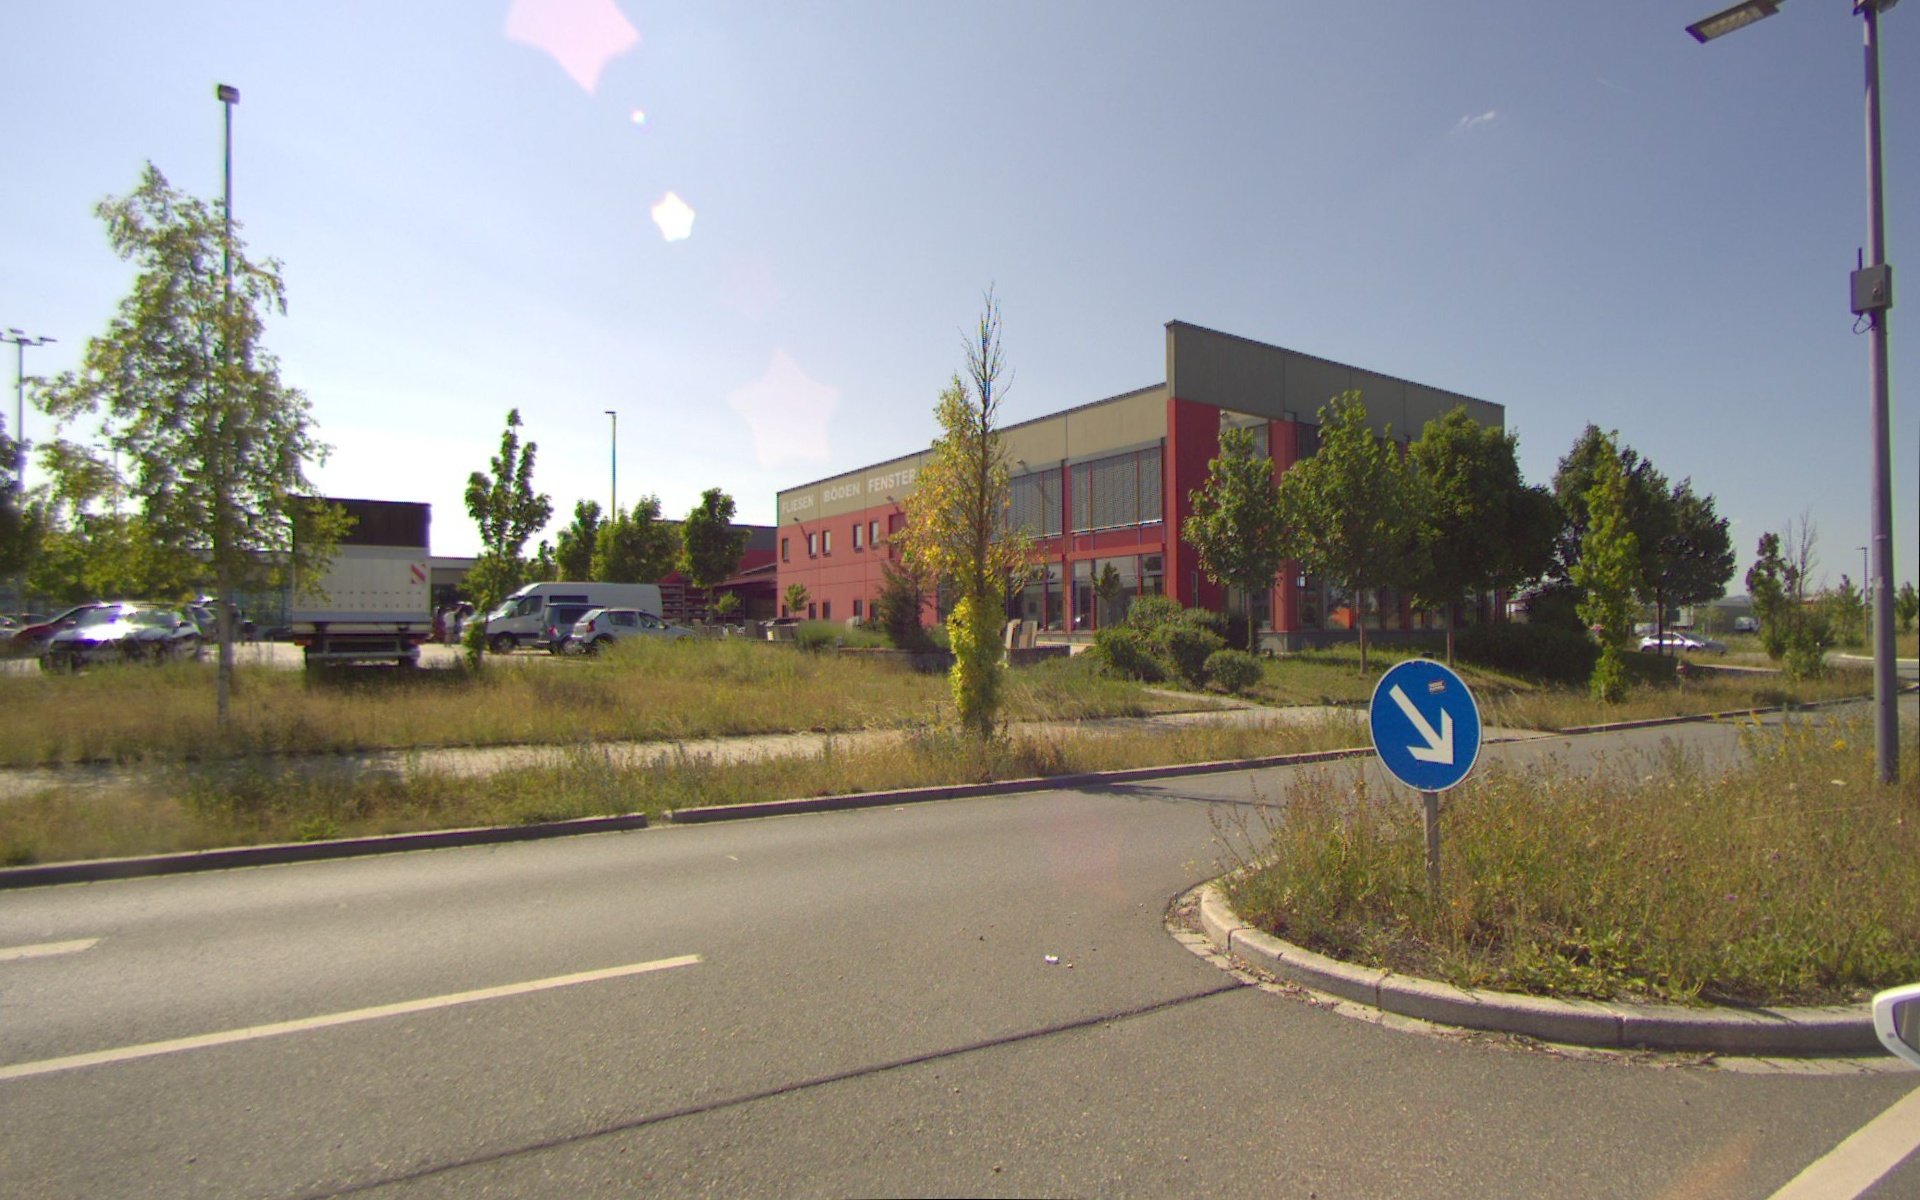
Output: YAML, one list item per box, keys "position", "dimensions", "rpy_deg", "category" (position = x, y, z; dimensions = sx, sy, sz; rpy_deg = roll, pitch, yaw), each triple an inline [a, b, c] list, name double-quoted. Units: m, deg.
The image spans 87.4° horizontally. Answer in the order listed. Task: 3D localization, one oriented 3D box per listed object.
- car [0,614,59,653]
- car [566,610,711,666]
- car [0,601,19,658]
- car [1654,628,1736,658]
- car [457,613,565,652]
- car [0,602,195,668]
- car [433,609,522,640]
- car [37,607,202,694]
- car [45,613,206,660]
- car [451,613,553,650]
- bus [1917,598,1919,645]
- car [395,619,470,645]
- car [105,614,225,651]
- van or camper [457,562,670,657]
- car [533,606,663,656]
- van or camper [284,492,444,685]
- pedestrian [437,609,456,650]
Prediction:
- position: [-40.257, 1.371, 41.447]
  dimensions: [4.337, 1.613, 1.821]
  rpy_deg: [2, -2, -34]
  category: "car"
- position: [-10.089, 1.201, 31.656]
  dimensions: [4.047, 1.636, 1.649]
  rpy_deg: [2, -2, -38]
  category: "car"
- position: [-36.058, 1.024, 35.108]
  dimensions: [4.337, 2.020, 1.821]
  rpy_deg: [2, -2, -34]
  category: "car"
- position: [43.234, 2.500, 59.241]
  dimensions: [1.924, 1.647, 4.627]
  rpy_deg: [-1, -1, 8]
  category: "car"
- position: [-19.708, 1.424, 44.165]
  dimensions: [4.047, 1.636, 1.649]
  rpy_deg: [2, -2, -38]
  category: "car"
- position: [-25.292, 1.038, 29.569]
  dimensions: [4.341, 1.796, 1.819]
  rpy_deg: [2, -2, -37]
  category: "car"
- position: [-25.836, 1.353, 53.867]
  dimensions: [4.046, 1.607, 1.649]
  rpy_deg: [2, -2, -37]
  category: "car"
- position: [-16.867, 0.984, 20.381]
  dimensions: [1.817, 1.572, 4.347]
  rpy_deg: [1, -2, -30]
  category: "car"
- position: [-30.074, 1.324, 36.398]
  dimensions: [4.341, 1.583, 1.819]
  rpy_deg: [2, -2, -37]
  category: "car"
- position: [-21.263, 1.465, 46.687]
  dimensions: [4.047, 1.636, 1.649]
  rpy_deg: [2, -2, -38]
  category: "car"
- position: [69.116, 1.200, 65.088]
  dimensions: [11.967, 3.119, 2.795]
  rpy_deg: [-2, -2, -3]
  category: "bus"
- position: [-33.941, 2.070, 64.706]
  dimensions: [4.046, 1.617, 1.649]
  rpy_deg: [2, -2, -37]
  category: "car"
- position: [-37.478, 1.551, 47.509]
  dimensions: [4.341, 1.633, 1.819]
  rpy_deg: [2, -2, -37]
  category: "car"
- position: [-14.998, 0.453, 38.280]
  dimensions: [7.165, 3.314, 2.413]
  rpy_deg: [2, -2, -36]
  category: "van or camper"
- position: [-12.903, 1.111, 35.920]
  dimensions: [4.047, 1.693, 1.649]
  rpy_deg: [2, -2, -38]
  category: "car"
- position: [-13.028, -0.079, 22.237]
  dimensions: [2.525, 3.514, 7.658]
  rpy_deg: [1, -2, -29]
  category: "van or camper"
- position: [-23.200, 1.329, 45.381]
  dimensions: [0.655, 1.865, 0.474]
  rpy_deg: [2, -2, -38]
  category: "pedestrian"
